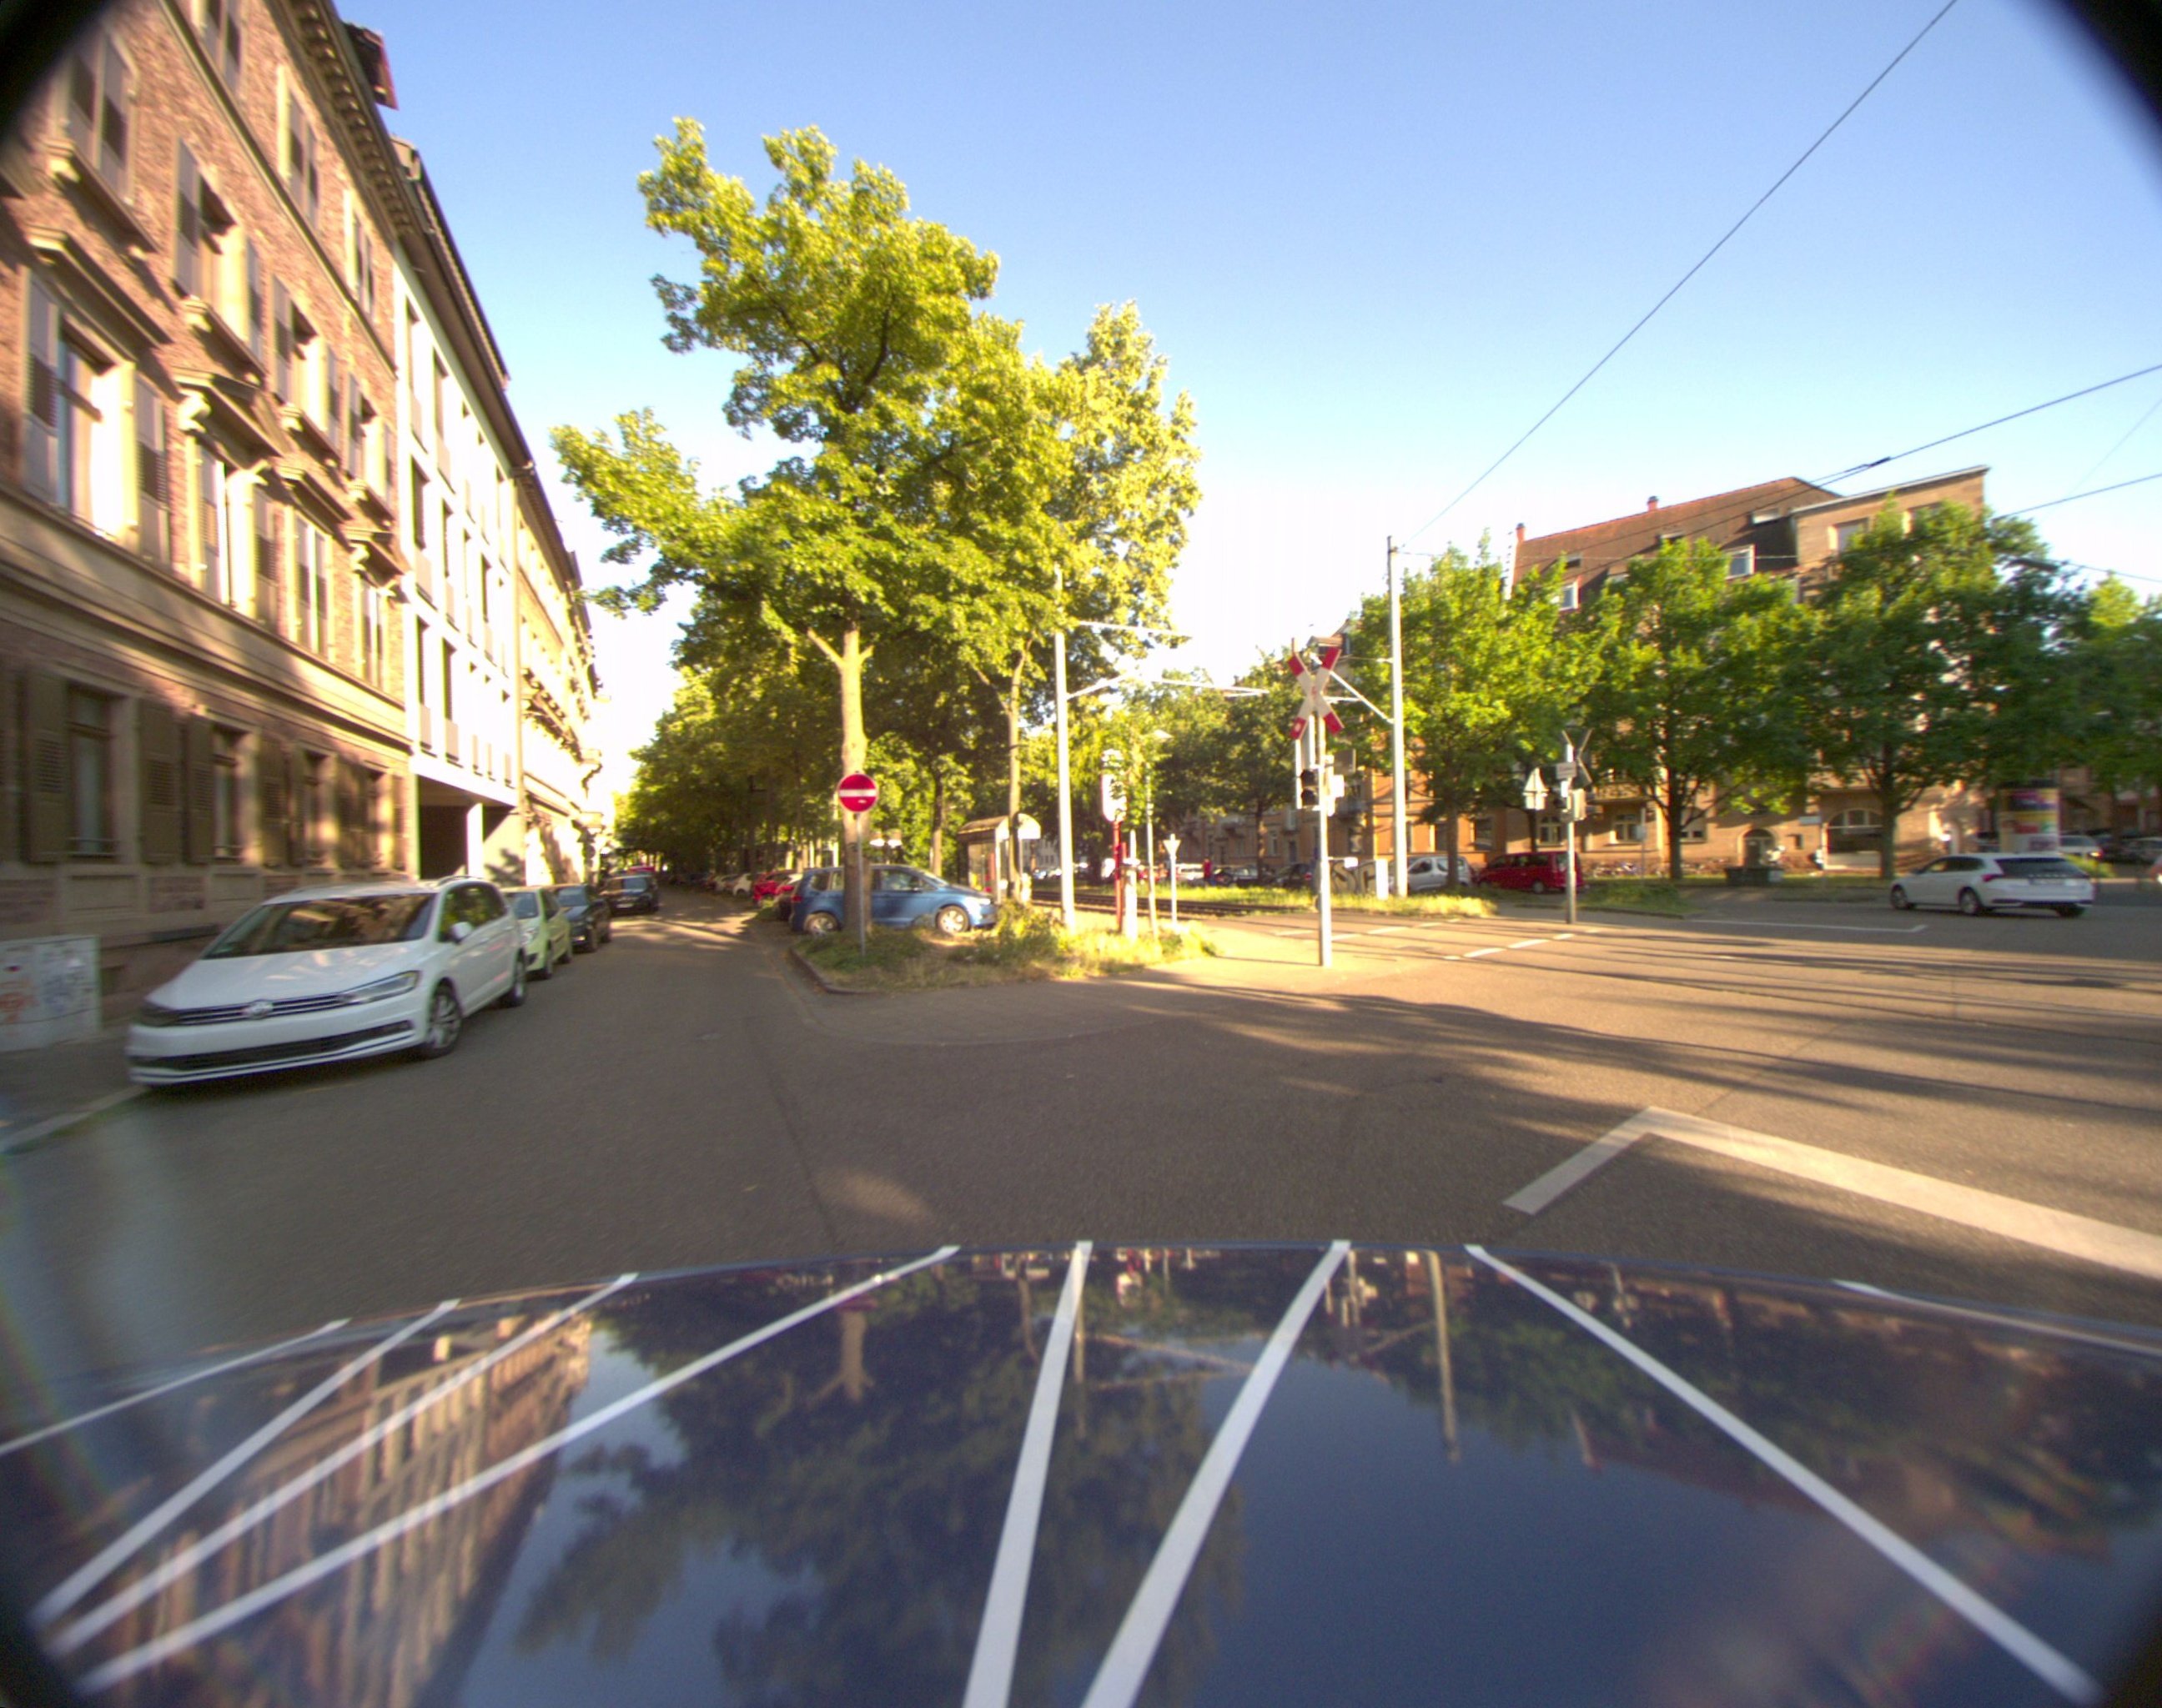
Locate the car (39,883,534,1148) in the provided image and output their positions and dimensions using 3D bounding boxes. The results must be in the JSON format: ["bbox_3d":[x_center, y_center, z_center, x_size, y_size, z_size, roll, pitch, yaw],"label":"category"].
[{"bbox_3d":[-7.272,1.218,7.716,1.877,1.640,4.489,-4,1,-25],"label":"car"}]

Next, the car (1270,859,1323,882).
[{"bbox_3d":[15.406,1.160,54.461,1.690,1.467,3.876,-3,0,-19],"label":"car"}]

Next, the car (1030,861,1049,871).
[{"bbox_3d":[-6.755,1.994,123.103,1.883,1.433,4.386,-3,0,-18],"label":"car"}]

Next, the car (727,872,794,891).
[{"bbox_3d":[-22.548,1.949,53.565,3.996,1.271,1.749,-1,-1,3],"label":"car"}]

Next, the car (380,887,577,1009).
[{"bbox_3d":[-9.675,1.386,12.538,1.744,1.481,3.717,-4,1,-27],"label":"car"}]

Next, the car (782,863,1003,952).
[{"bbox_3d":[-4.074,1.145,16.932,4.415,1.677,1.742,-2,0,1],"label":"car"}]

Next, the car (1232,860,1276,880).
[{"bbox_3d":[13.606,1.235,59.940,1.690,1.467,3.704,-3,0,-17],"label":"car"}]

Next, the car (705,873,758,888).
[{"bbox_3d":[-31.734,2.393,69.051,3.996,1.271,1.749,-1,-1,3],"label":"car"}]

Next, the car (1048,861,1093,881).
[{"bbox_3d":[-1.015,1.574,72.175,4.003,1.821,1.682,0,0,-17],"label":"car"}]

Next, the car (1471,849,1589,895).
[{"bbox_3d":[20.973,0.806,35.750,1.783,1.922,4.766,-3,0,-17],"label":"car"}]

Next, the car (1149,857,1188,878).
[{"bbox_3d":[8.585,1.311,75.051,1.914,1.872,4.718,-3,0,-18],"label":"car"}]

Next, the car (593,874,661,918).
[{"bbox_3d":[-18.377,1.647,30.919,2.003,1.558,4.584,0,-1,-26],"label":"car"}]

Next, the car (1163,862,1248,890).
[{"bbox_3d":[7.587,1.305,46.432,4.718,1.563,1.997,-1,1,-15],"label":"car"}]

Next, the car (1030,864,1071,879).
[{"bbox_3d":[-3.169,1.826,79.743,4.003,1.480,1.682,0,-1,-17],"label":"car"}]

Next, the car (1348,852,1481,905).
[{"bbox_3d":[12.988,0.895,29.647,4.556,1.903,1.947,-1,1,-15],"label":"car"}]

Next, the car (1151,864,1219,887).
[{"bbox_3d":[6.719,1.364,48.984,4.003,1.452,1.682,0,-1,-17],"label":"car"}]

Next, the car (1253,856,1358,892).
[{"bbox_3d":[10.941,0.948,37.116,4.556,1.563,1.947,-1,1,-15],"label":"car"}]

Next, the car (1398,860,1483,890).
[{"bbox_3d":[19.393,1.117,41.211,1.783,1.425,4.265,-3,0,-15],"label":"car"}]

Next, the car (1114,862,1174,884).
[{"bbox_3d":[4.636,1.373,56.042,4.004,1.570,1.763,0,-1,-19],"label":"car"}]

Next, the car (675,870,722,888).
[{"bbox_3d":[-39.738,2.555,79.077,4.001,1.756,1.747,0,0,-10],"label":"car"}]

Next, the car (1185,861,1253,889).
[{"bbox_3d":[7.934,1.218,43.841,3.411,1.505,1.717,-1,-1,-15],"label":"car"}]

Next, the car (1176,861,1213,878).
[{"bbox_3d":[10.393,1.438,69.722,1.770,1.430,3.883,-3,0,-18],"label":"car"}]

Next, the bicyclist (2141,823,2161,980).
[{"bbox_3d":[11.380,0.466,7.645,0.875,1.579,0.699,-1,0,-27],"label":"bicyclist"}]

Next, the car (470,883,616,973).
[{"bbox_3d":[-11.381,1.464,16.372,1.744,1.481,4.156,-4,1,-25],"label":"car"}]

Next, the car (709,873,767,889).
[{"bbox_3d":[-28.777,2.245,63.809,3.996,1.271,1.749,-1,-1,3],"label":"car"}]

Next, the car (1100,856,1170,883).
[{"bbox_3d":[4.125,1.180,58.268,4.864,2.026,2.152,0,0,-17],"label":"car"}]

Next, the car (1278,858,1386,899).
[{"bbox_3d":[11.402,1.079,34.475,4.455,1.681,1.946,-1,1,-23],"label":"car"}]

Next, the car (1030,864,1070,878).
[{"bbox_3d":[-3.322,1.846,82.286,4.003,1.480,1.682,0,-1,-17],"label":"car"}]

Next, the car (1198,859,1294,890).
[{"bbox_3d":[8.994,1.083,41.492,4.718,1.563,1.997,-1,1,-15],"label":"car"}]

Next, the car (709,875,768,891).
[{"bbox_3d":[-27.731,2.351,61.636,3.996,1.271,1.749,-1,-1,3],"label":"car"}]

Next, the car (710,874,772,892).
[{"bbox_3d":[-26.338,2.248,58.937,3.996,1.271,1.749,-1,-1,3],"label":"car"}]

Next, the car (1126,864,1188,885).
[{"bbox_3d":[5.389,1.449,53.854,4.003,1.415,1.682,0,-1,-17],"label":"car"}]
